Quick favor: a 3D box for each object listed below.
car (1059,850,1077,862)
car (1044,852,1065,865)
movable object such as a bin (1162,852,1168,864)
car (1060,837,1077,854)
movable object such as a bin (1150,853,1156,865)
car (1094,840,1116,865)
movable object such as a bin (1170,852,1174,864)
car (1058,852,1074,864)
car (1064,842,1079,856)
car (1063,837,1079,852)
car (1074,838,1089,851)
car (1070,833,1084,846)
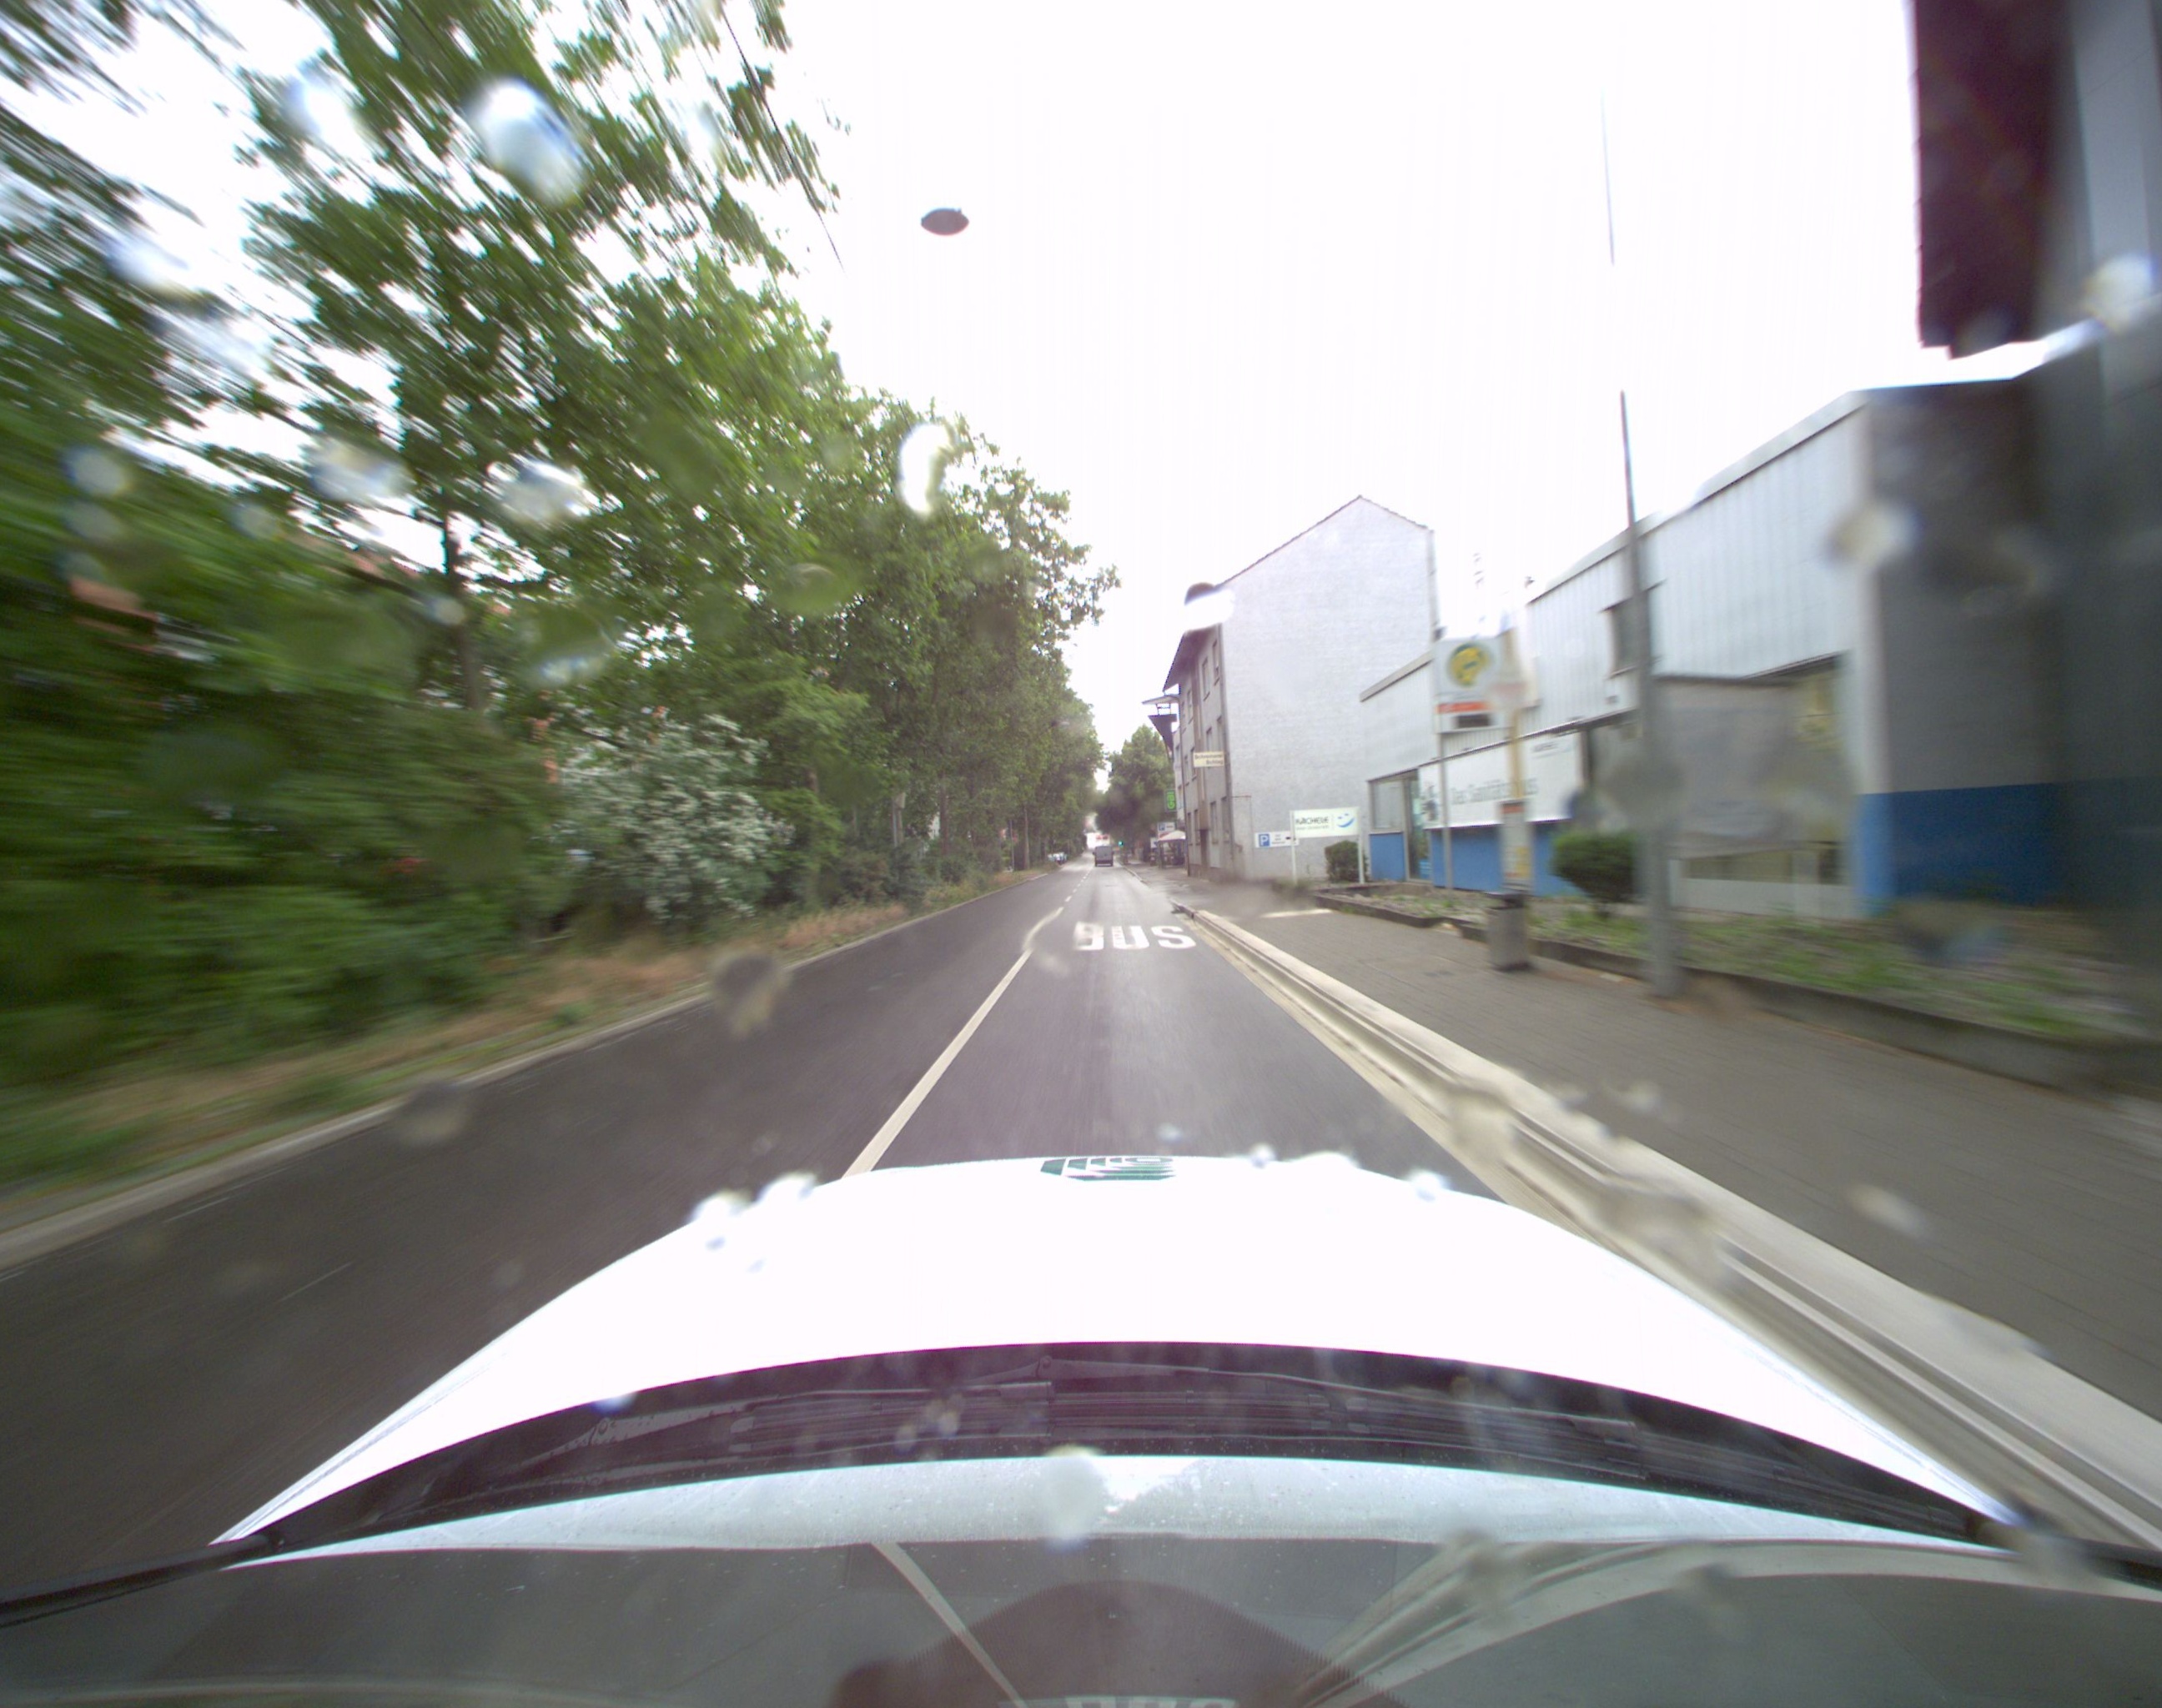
[{"bbox_3d":[-1.937,0.312,123.598,2.206,1.691,4.613,-1,-2,4],"label":"car"},{"bbox_3d":[-3.360,0.580,103.397,2.206,1.592,4.613,-1,-2,4],"label":"car"},{"bbox_3d":[7.644,0.393,74.178,0.399,1.067,0.358,-2,-2,-5],"label":"movable object such as a bin"},{"bbox_3d":[-1.997,-1.274,129.092,2.206,2.534,4.613,-1,-2,4],"label":"car"},{"bbox_3d":[6.590,0.488,74.148,0.399,1.066,0.358,-6,-2,-5],"label":"movable object such as a bin"},{"bbox_3d":[2.721,-0.089,90.271,2.274,2.553,4.001,-2,-2,2],"label":"car"},{"bbox_3d":[8.287,0.366,74.180,0.356,1.067,0.358,-1,-2,-5],"label":"movable object such as a bin"},{"bbox_3d":[-2.146,0.551,118.116,1.986,1.543,4.613,-1,-2,4],"label":"car"},{"bbox_3d":[-1.560,-0.836,140.334,2.206,2.294,4.614,-1,0,4],"label":"car"},{"bbox_3d":[-1.698,-1.494,134.665,2.206,2.294,4.613,-1,-2,4],"label":"car"},{"bbox_3d":[0.127,-1.797,156.106,2.204,2.294,4.616,-1,-2,6],"label":"car"},{"bbox_3d":[-0.760,-2.589,148.670,2.206,2.294,4.614,-1,0,4],"label":"car"}]
